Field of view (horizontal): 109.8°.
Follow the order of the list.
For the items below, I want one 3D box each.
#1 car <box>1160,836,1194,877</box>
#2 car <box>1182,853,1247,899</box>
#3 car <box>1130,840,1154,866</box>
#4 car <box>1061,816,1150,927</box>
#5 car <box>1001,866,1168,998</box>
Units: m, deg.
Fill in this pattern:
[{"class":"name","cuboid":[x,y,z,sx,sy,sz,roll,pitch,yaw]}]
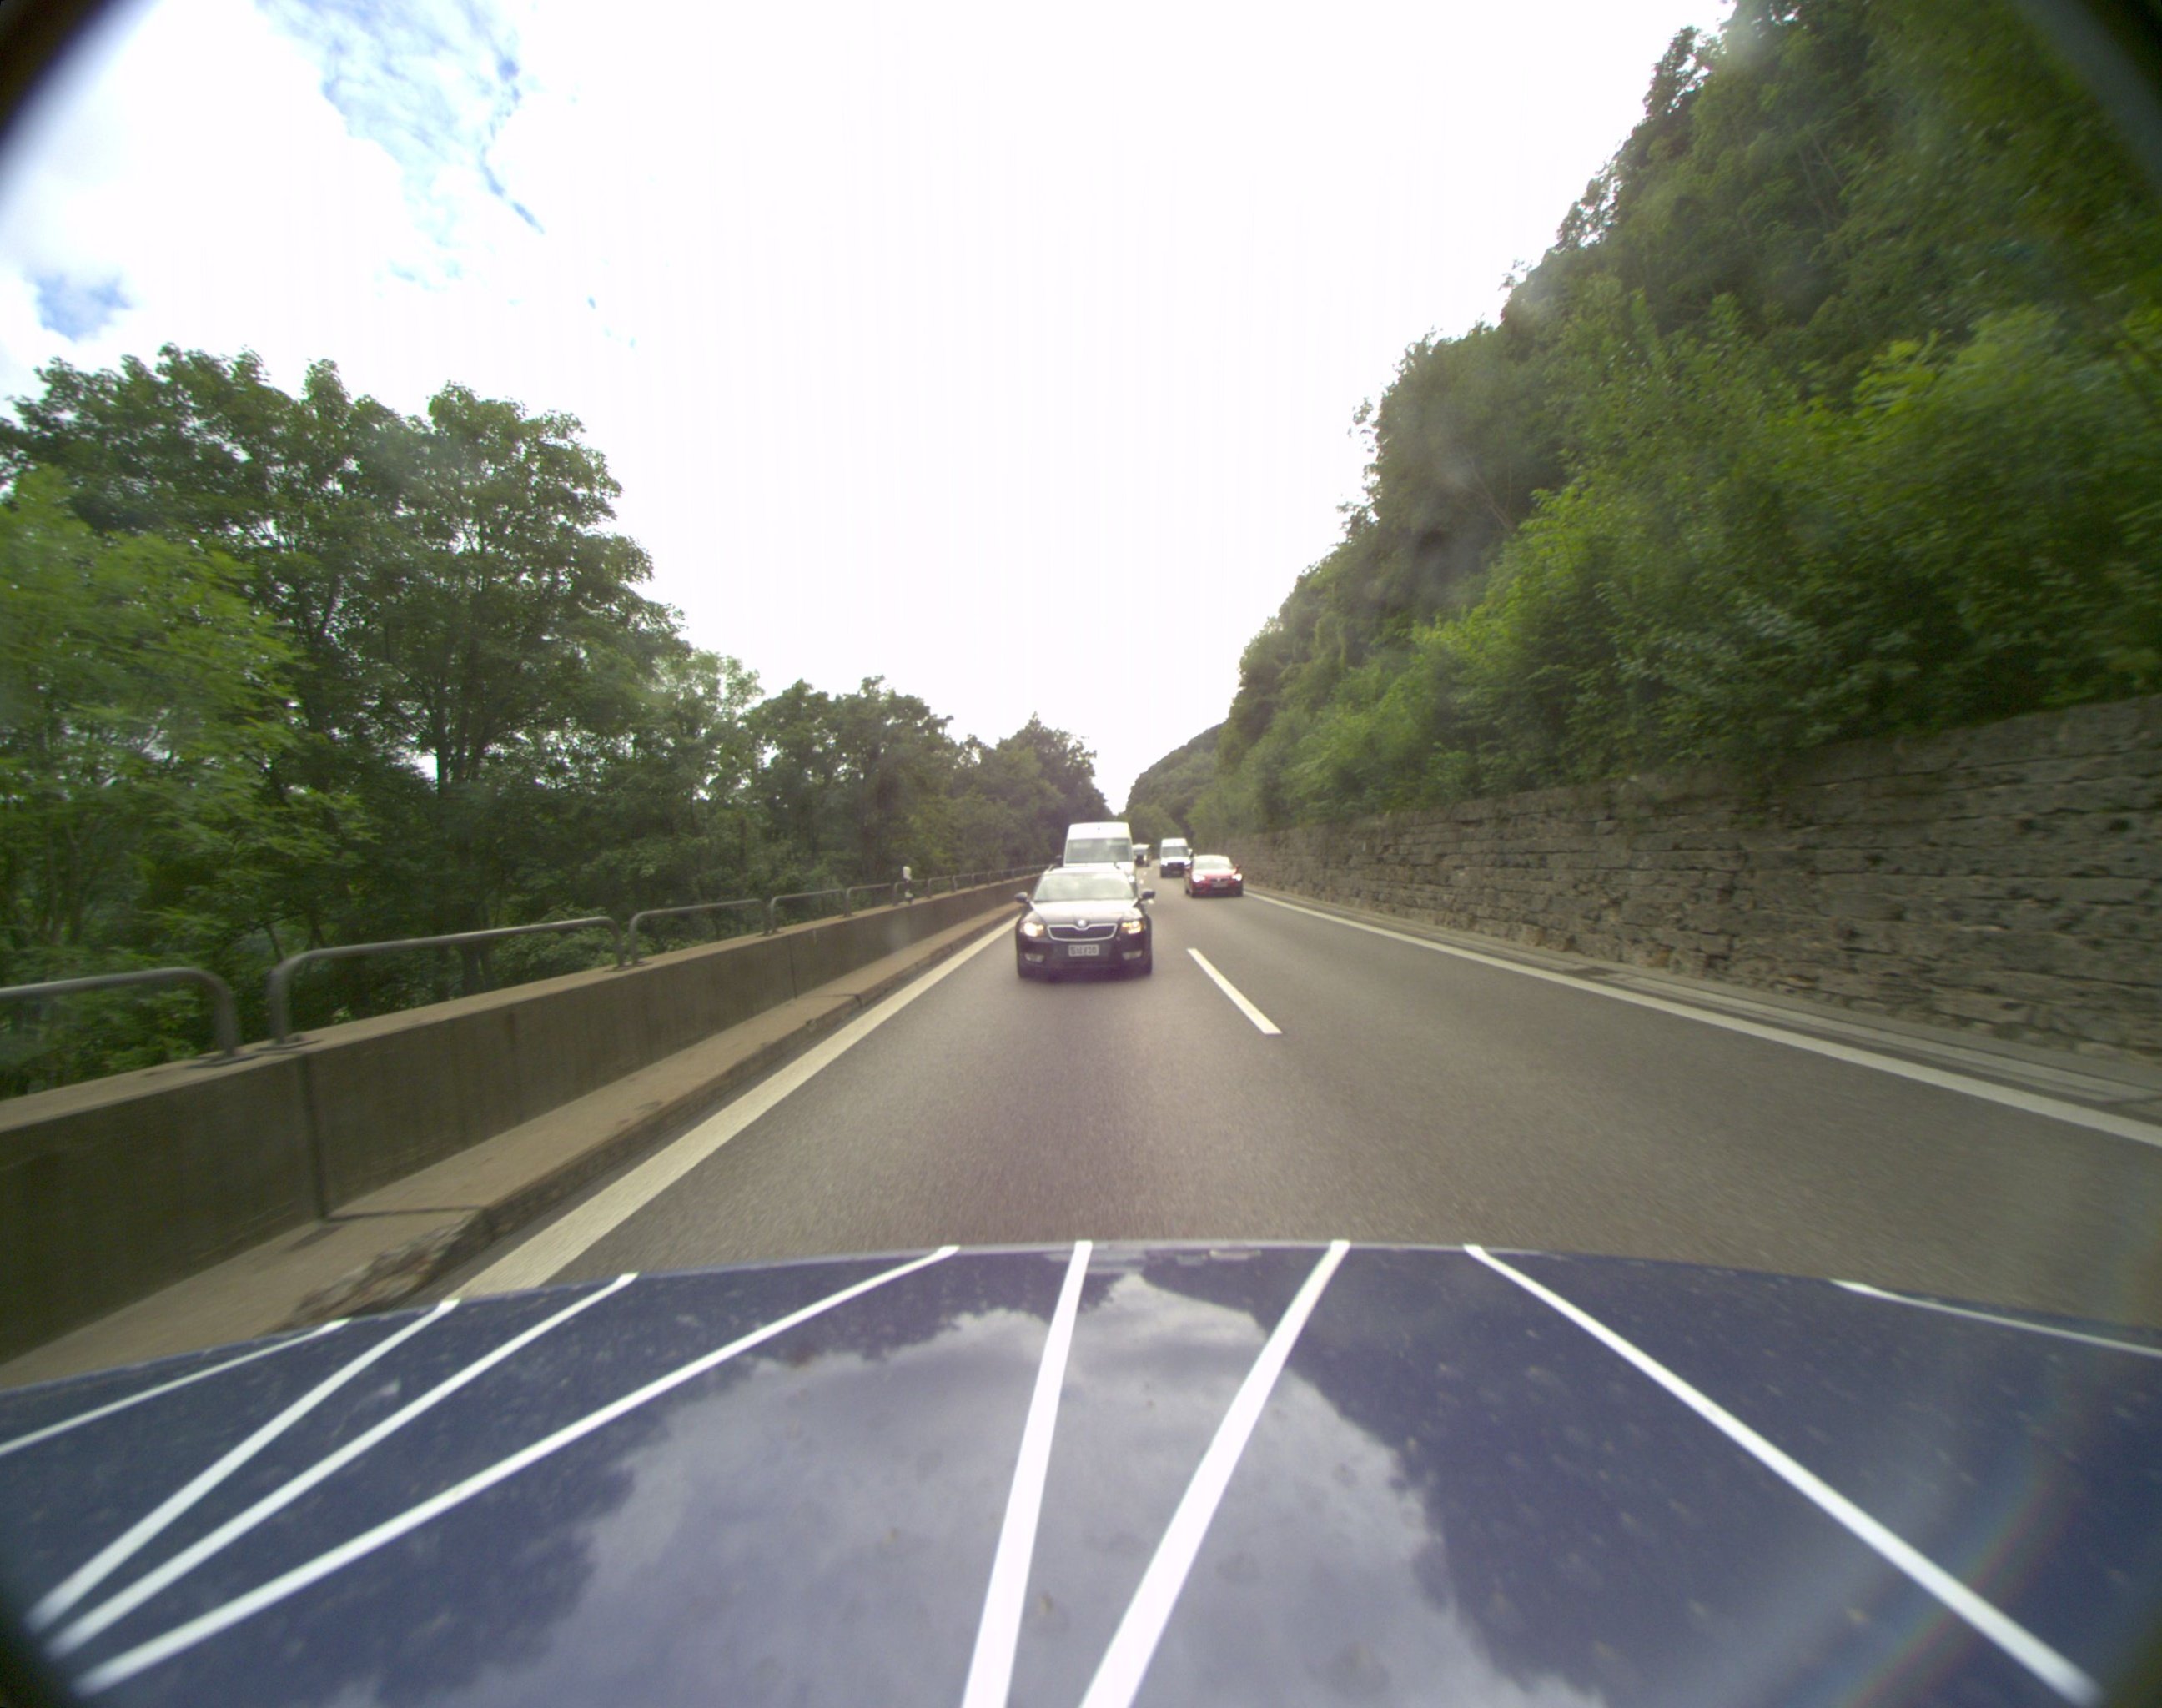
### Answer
[{"class":"car","cuboid":[6.484,0.128,51.732,2.030,2.570,6.276,-2,0,5]},{"class":"car","cuboid":[4.695,0.723,27.320,1.770,1.451,4.412,-2,0,3]},{"class":"car","cuboid":[7.423,-0.148,91.892,2.275,2.941,7.190,-2,0,9]},{"class":"car","cuboid":[0.679,0.398,20.786,1.998,2.550,5.919,-2,0,2]},{"class":"car","cuboid":[0.140,0.967,11.822,1.913,1.391,5.697,-2,0,2]}]
